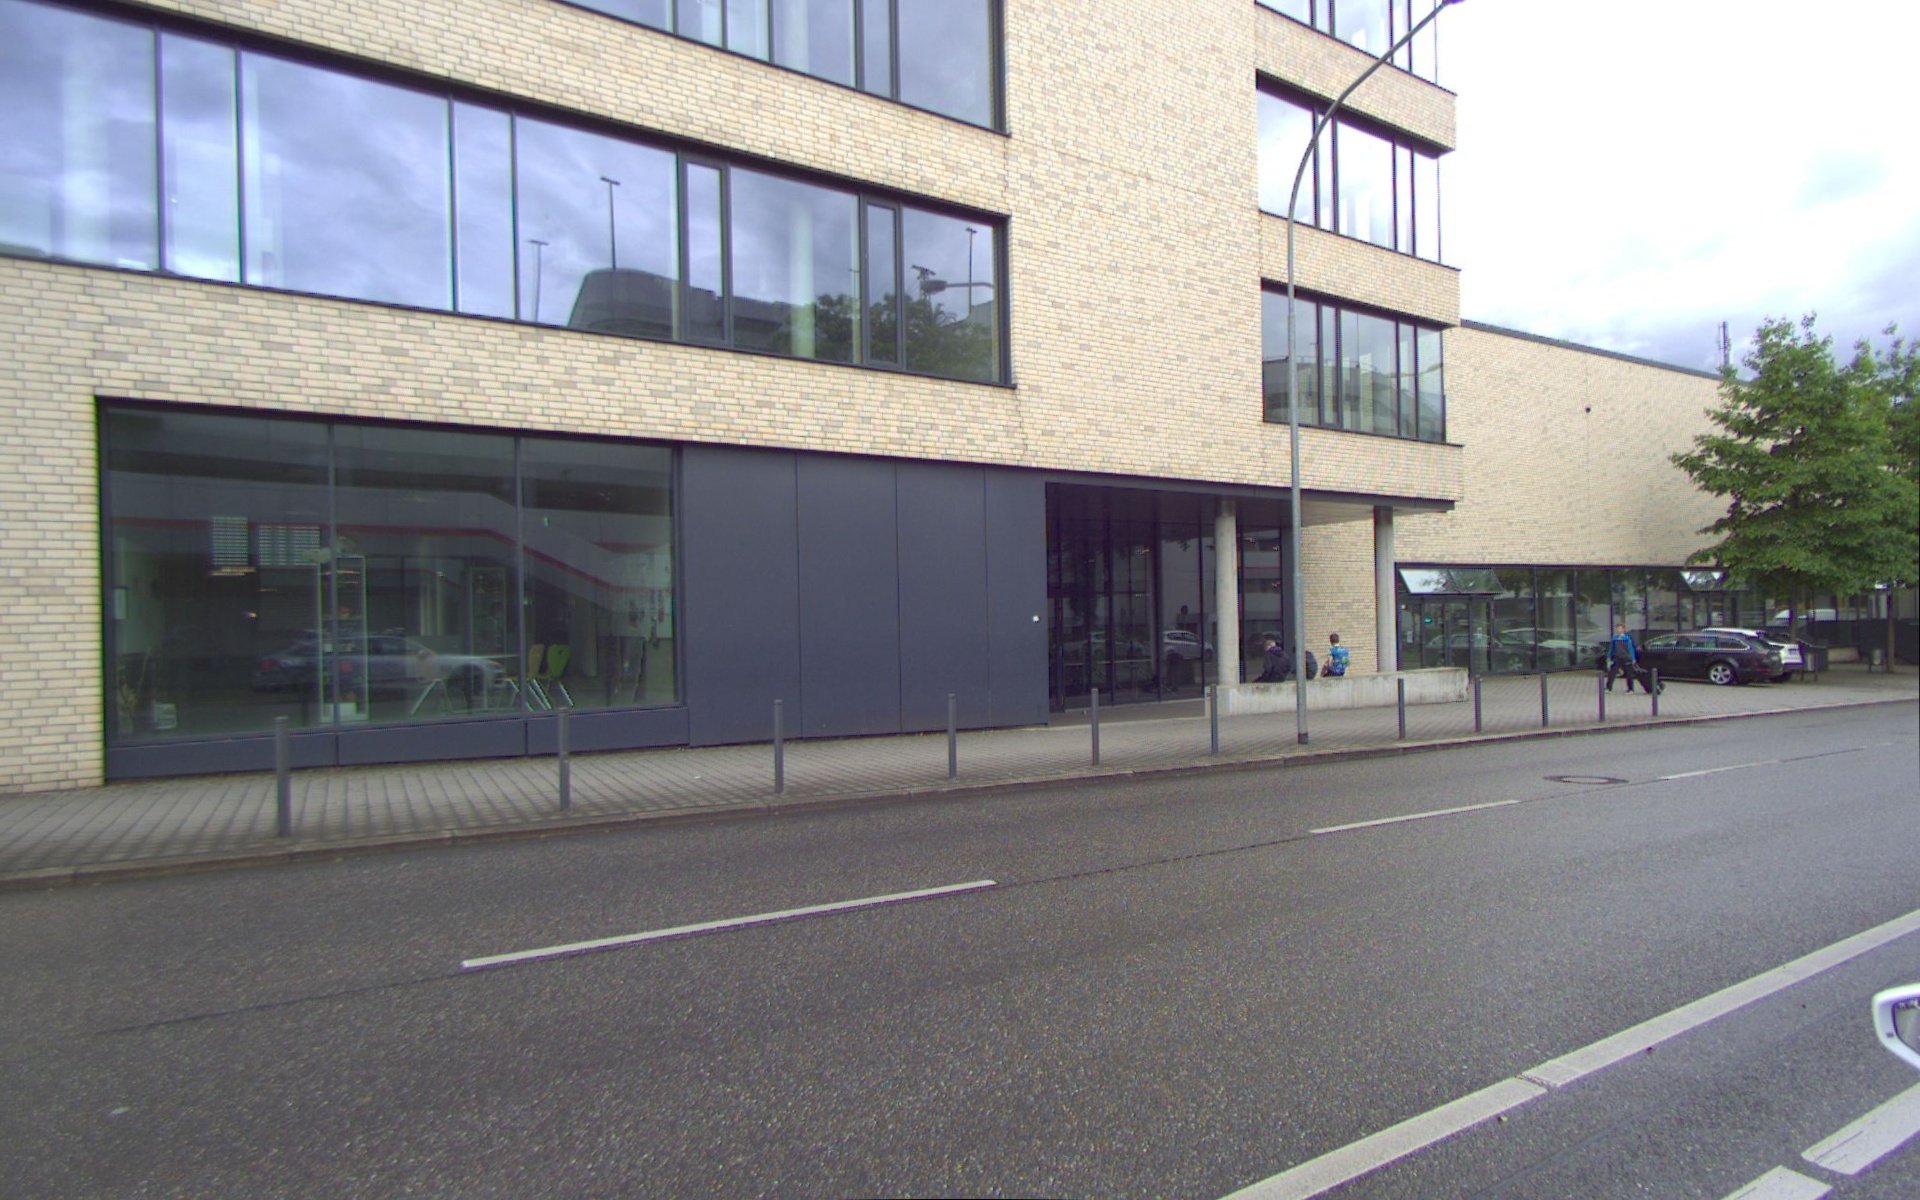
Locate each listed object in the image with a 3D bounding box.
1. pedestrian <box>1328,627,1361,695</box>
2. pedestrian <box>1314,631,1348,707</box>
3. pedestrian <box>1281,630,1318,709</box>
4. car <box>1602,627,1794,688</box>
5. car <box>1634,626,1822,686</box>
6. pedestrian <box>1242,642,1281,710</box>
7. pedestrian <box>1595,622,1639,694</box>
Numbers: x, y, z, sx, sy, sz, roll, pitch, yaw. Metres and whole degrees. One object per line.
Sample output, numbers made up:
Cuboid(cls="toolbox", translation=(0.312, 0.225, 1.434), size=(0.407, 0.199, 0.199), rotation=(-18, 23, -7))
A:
Cuboid(cls="pedestrian", translation=(8.664, 1.371, 22.613), size=(0.523, 1.495, 0.438), rotation=(2, 0, -35))
Cuboid(cls="pedestrian", translation=(7.489, 1.382, 20.280), size=(0.459, 1.495, 0.446), rotation=(2, 0, -35))
Cuboid(cls="pedestrian", translation=(6.596, 1.341, 19.518), size=(0.459, 1.495, 0.446), rotation=(2, 0, -35))
Cuboid(cls="car", translation=(21.659, 1.640, 29.624), size=(1.981, 1.515, 4.147), rotation=(2, 0, -36))
Cuboid(cls="car", translation=(23.536, 1.661, 30.933), size=(1.975, 1.568, 4.159), rotation=(2, 0, -28))
Cuboid(cls="pedestrian", translation=(5.708, 1.423, 18.997), size=(0.416, 1.231, 0.546), rotation=(2, 0, -27))
Cuboid(cls="pedestrian", translation=(16.309, 1.422, 24.936), size=(0.696, 1.737, 0.632), rotation=(2, 0, -27))
